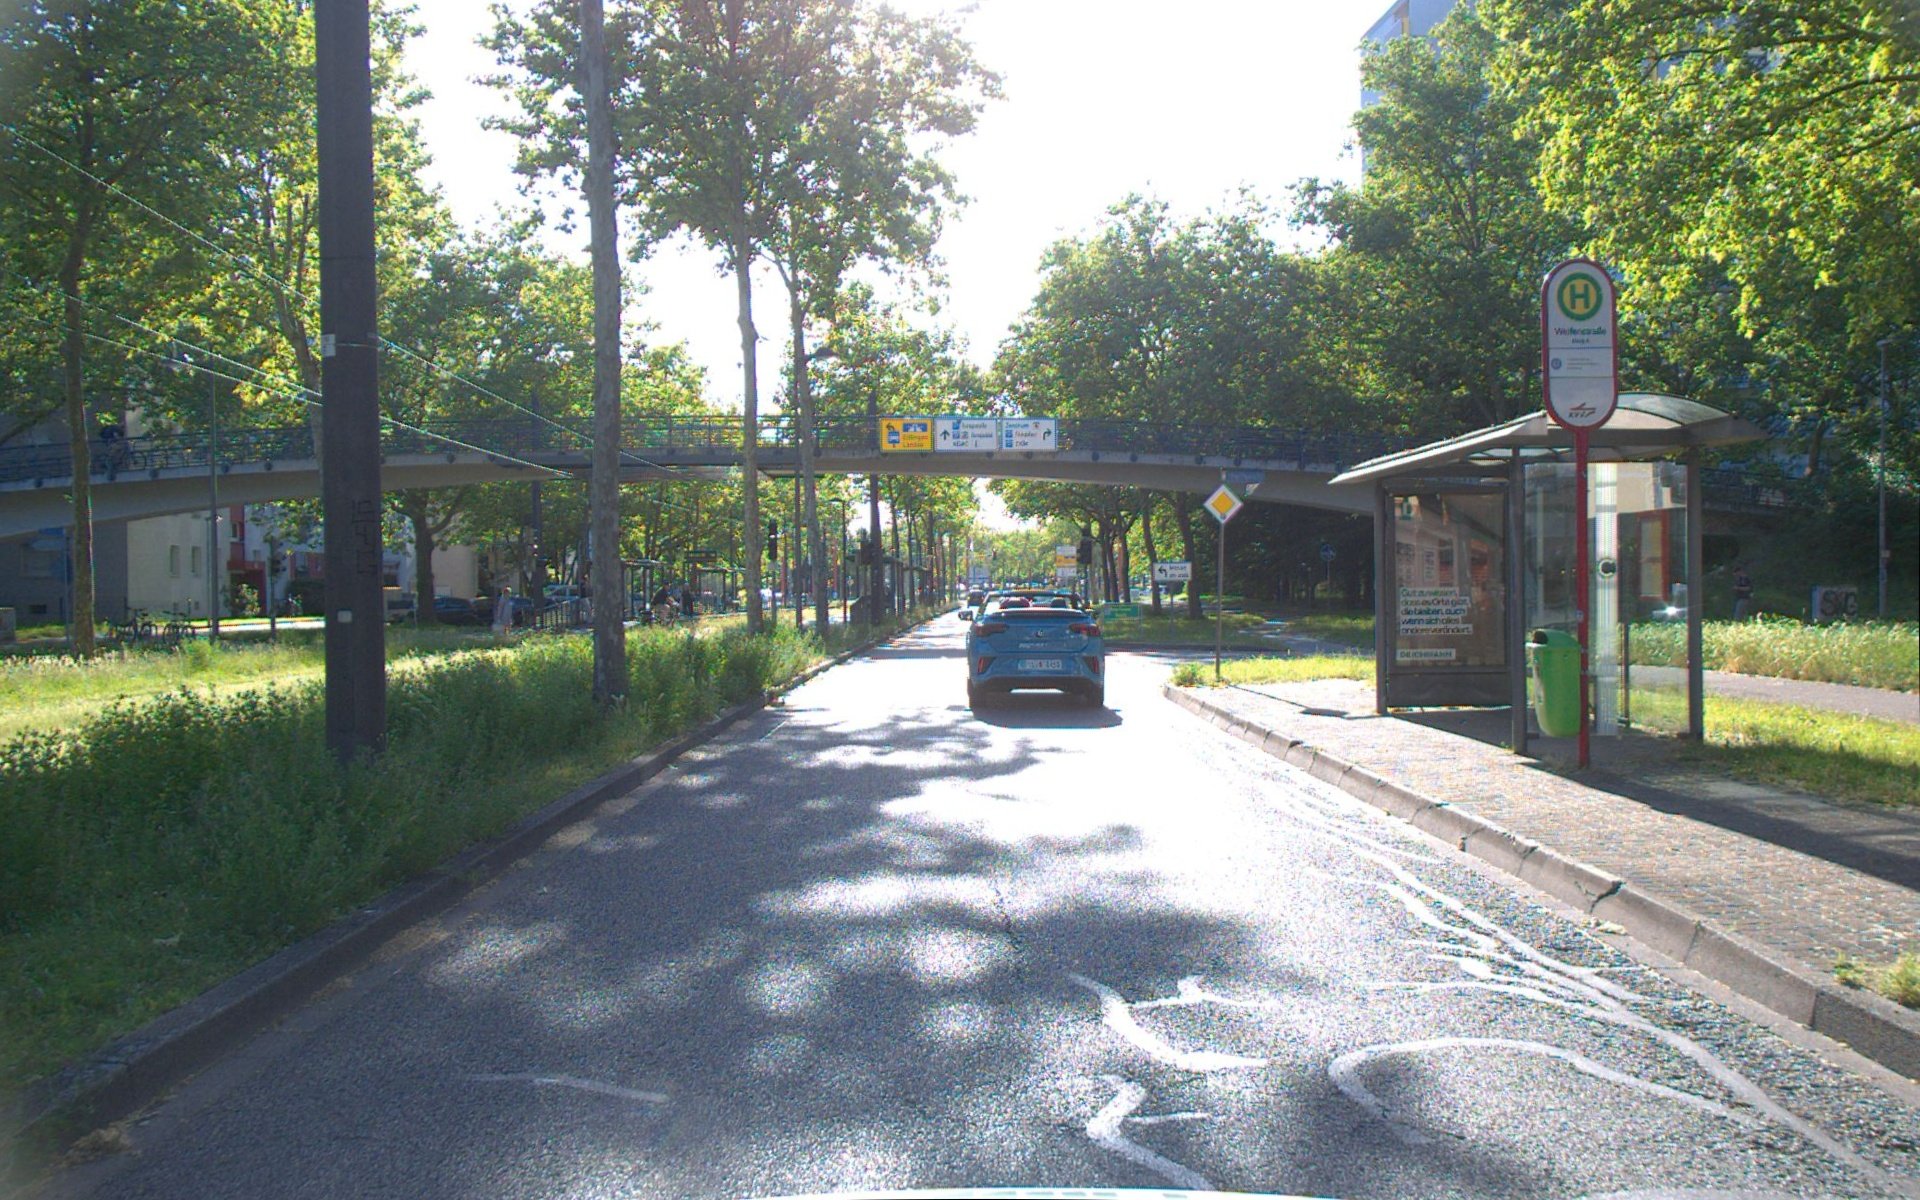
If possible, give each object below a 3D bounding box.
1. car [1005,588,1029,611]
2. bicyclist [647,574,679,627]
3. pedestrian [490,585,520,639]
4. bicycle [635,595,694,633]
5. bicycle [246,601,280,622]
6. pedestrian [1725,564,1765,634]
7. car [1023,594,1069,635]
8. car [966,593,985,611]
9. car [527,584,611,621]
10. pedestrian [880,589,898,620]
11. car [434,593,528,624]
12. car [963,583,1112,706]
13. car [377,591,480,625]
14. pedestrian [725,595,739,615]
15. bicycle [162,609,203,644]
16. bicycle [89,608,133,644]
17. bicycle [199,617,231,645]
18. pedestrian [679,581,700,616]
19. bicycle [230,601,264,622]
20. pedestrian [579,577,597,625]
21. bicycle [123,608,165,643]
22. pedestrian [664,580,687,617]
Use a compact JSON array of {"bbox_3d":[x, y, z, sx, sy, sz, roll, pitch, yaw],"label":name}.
[{"bbox_3d":[3.955,-0.043,115.158,1.605,1.520,3.503,1,1,0],"label":"car"},{"bbox_3d":[-9.486,0.004,52.873,0.935,1.660,0.814,1,1,-6],"label":"bicyclist"},{"bbox_3d":[-14.591,0.386,53.038,0.710,1.703,1.048,1,0,-3],"label":"pedestrian"},{"bbox_3d":[-9.446,0.448,52.886,1.796,1.167,0.814,1,1,-7],"label":"bicycle"},{"bbox_3d":[-34.940,0.569,82.932,0.681,0.944,2.594,1,1,-3],"label":"bicycle"},{"bbox_3d":[20.456,-0.041,43.118,0.646,1.808,0.738,-1,1,-9],"label":"pedestrian"},{"bbox_3d":[4.002,0.668,77.578,1.941,1.823,4.614,-1,0,1],"label":"car"},{"bbox_3d":[1.419,0.181,152.259,1.675,1.631,3.350,0,0,0],"label":"car"},{"bbox_3d":[-23.114,0.161,97.859,4.454,2.099,1.874,0,1,-38],"label":"car"},{"bbox_3d":[-3.004,0.183,70.194,0.719,1.274,0.587,1,0,-5],"label":"pedestrian"},{"bbox_3d":[-23.652,0.397,81.775,4.157,1.453,1.677,0,1,-38],"label":"car"},{"bbox_3d":[0.960,0.534,22.453,1.740,1.509,4.099,0,0,-1],"label":"car"},{"bbox_3d":[-24.098,0.372,75.071,4.157,1.453,1.677,0,1,-38],"label":"car"},{"bbox_3d":[-13.606,0.308,98.721,0.680,1.147,0.662,-4,-1,2],"label":"pedestrian"},{"bbox_3d":[-23.431,0.790,49.858,0.425,1.026,1.686,1,0,1],"label":"bicycle"},{"bbox_3d":[-25.245,0.769,49.210,0.425,1.026,1.686,1,0,1],"label":"bicycle"},{"bbox_3d":[-22.194,0.926,49.277,0.425,0.792,1.174,1,0,0],"label":"bicycle"},{"bbox_3d":[-12.225,-0.073,74.812,0.668,1.540,0.644,-2,0,22],"label":"pedestrian"},{"bbox_3d":[-35.762,0.560,82.940,0.681,0.944,2.594,1,1,-3],"label":"bicycle"},{"bbox_3d":[-14.028,0.040,62.364,0.499,1.801,0.477,1,-1,-40],"label":"pedestrian"},{"bbox_3d":[-24.835,0.776,50.343,0.425,1.026,1.686,1,0,1],"label":"bicycle"},{"bbox_3d":[-13.044,-0.067,75.885,0.701,1.663,0.729,-2,0,36],"label":"pedestrian"}]
